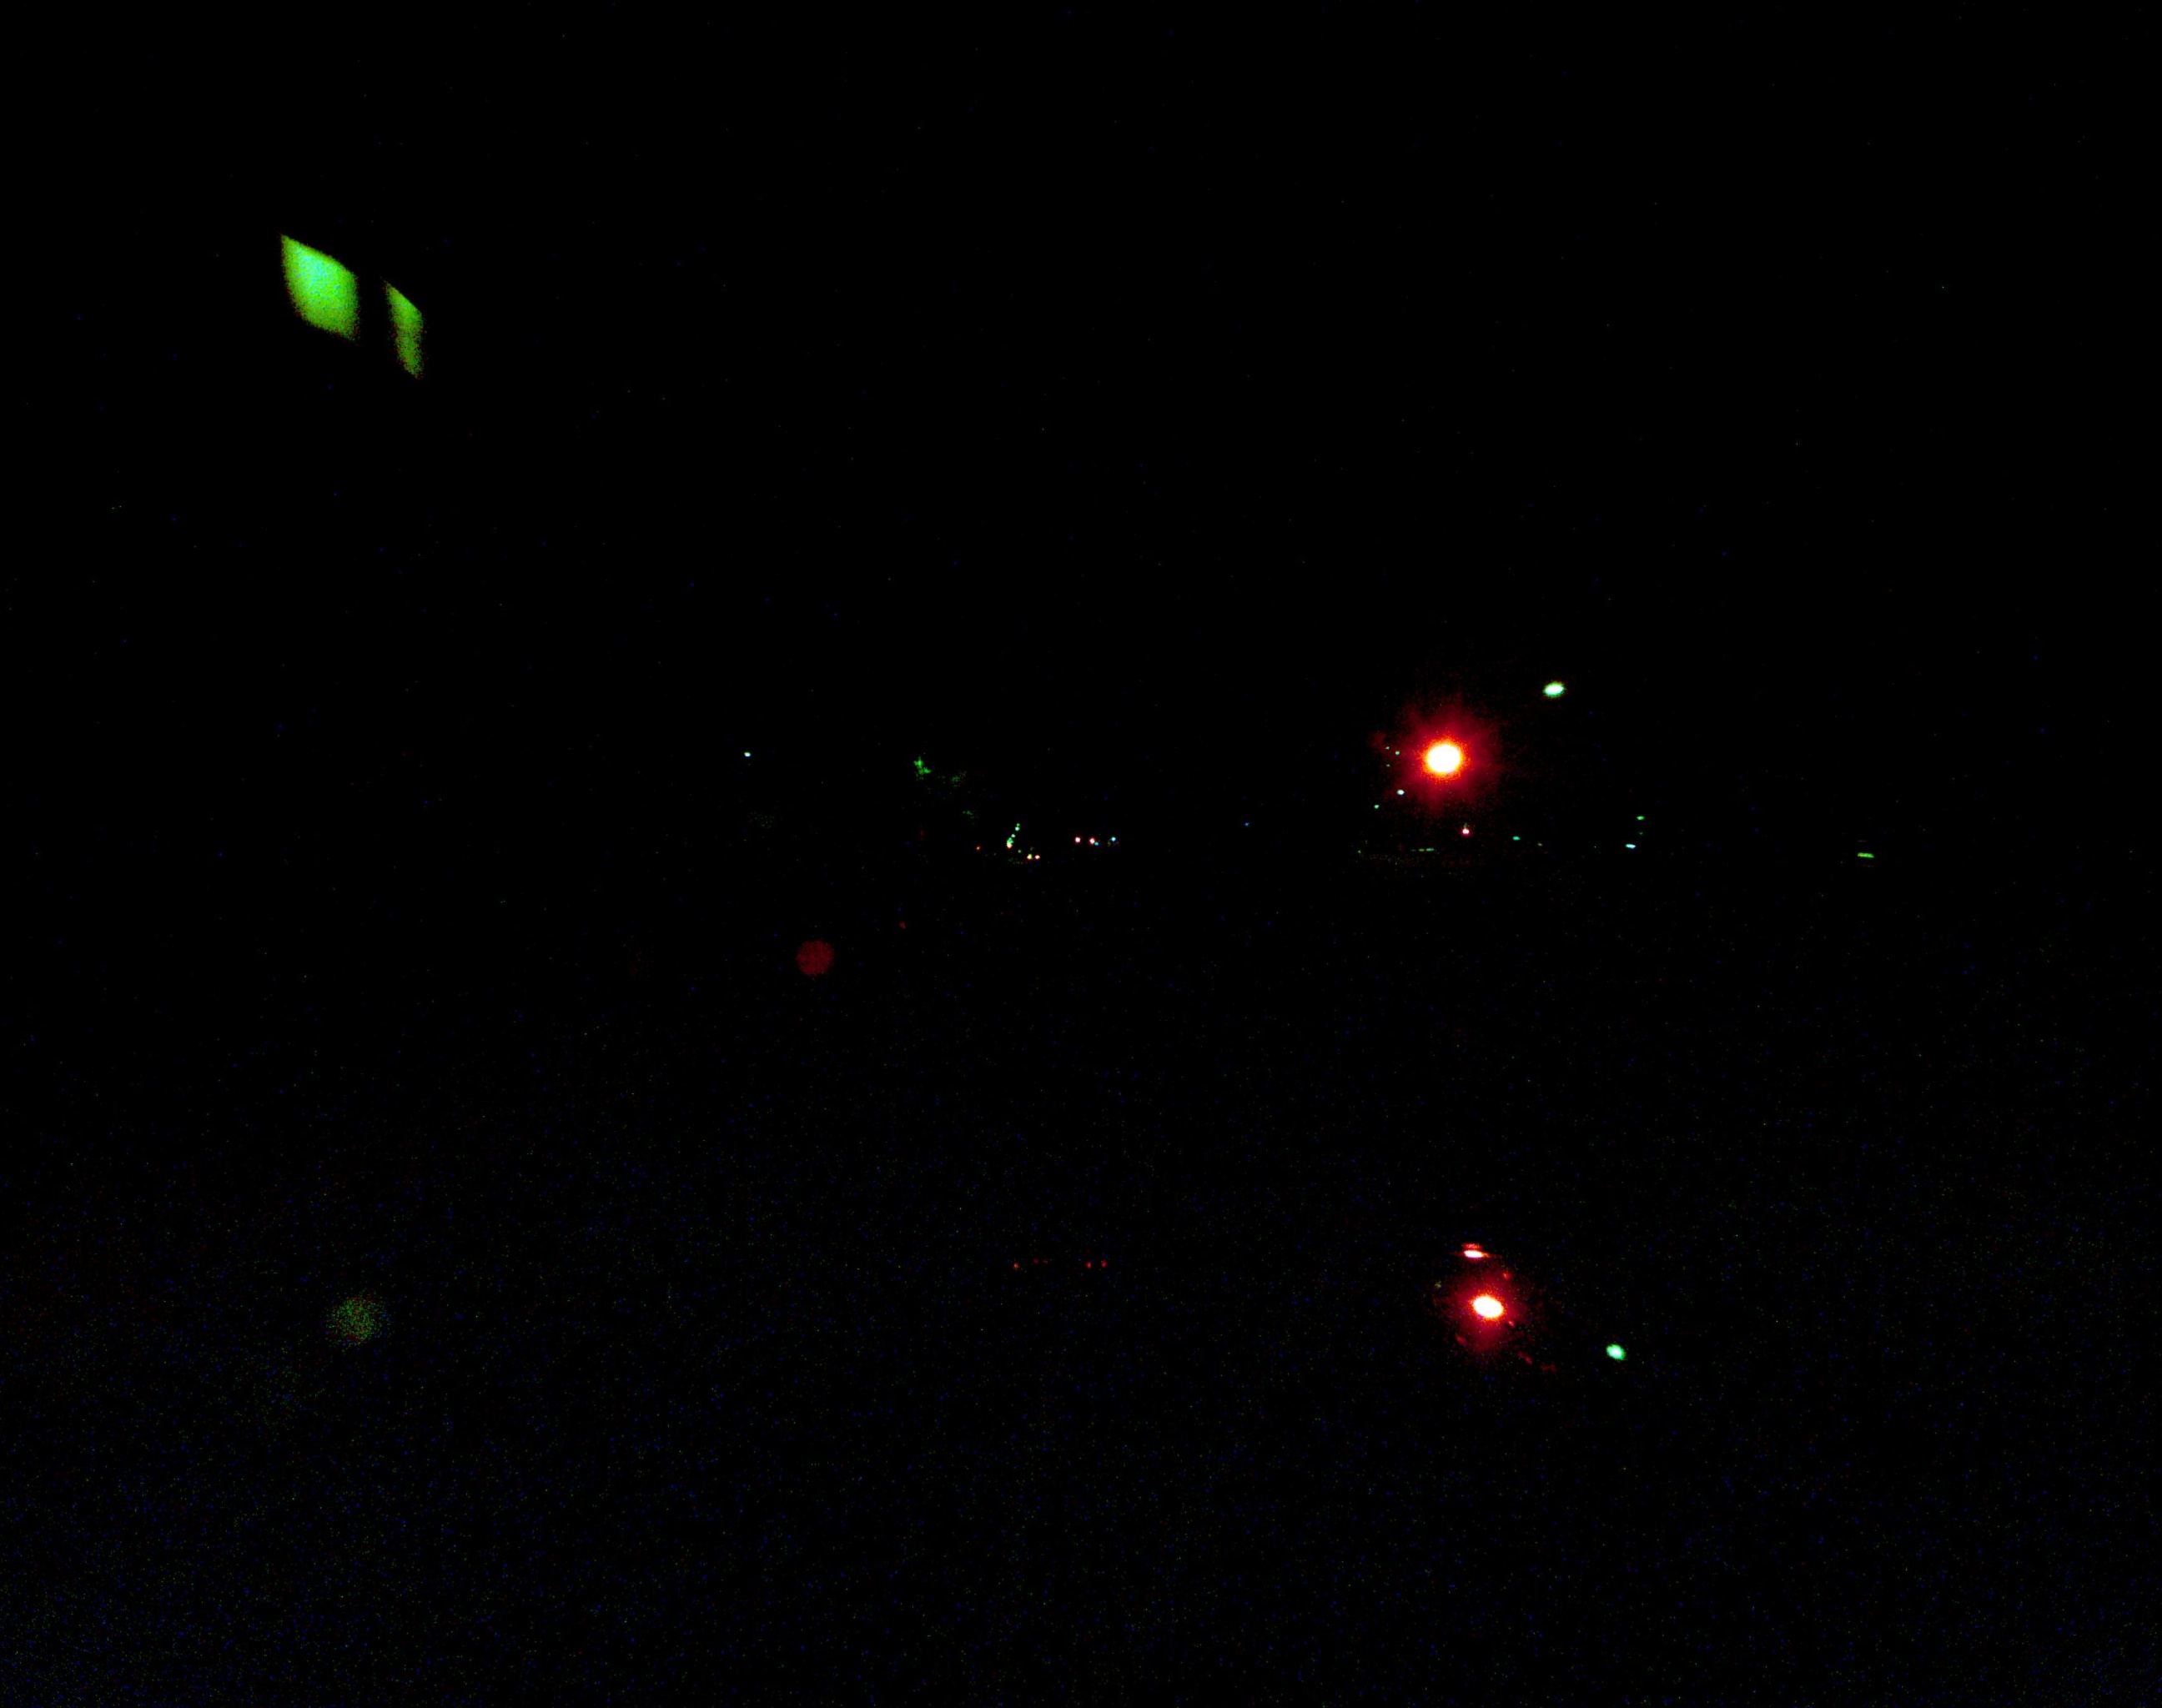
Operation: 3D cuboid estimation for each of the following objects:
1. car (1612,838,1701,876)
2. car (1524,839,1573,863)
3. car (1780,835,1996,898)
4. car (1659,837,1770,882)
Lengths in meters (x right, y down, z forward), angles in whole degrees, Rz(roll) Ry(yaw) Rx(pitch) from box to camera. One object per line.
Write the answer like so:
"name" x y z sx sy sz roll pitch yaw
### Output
"car" 24.751 0.076 32.852 1.640 1.425 4.355 -4 0 18
"car" 29.838 -0.202 48.602 1.631 1.455 3.518 -1 1 14
"car" 21.069 0.273 20.153 1.863 1.425 4.408 -3 0 15
"car" 23.297 0.165 28.131 1.553 1.425 4.353 -4 0 18
